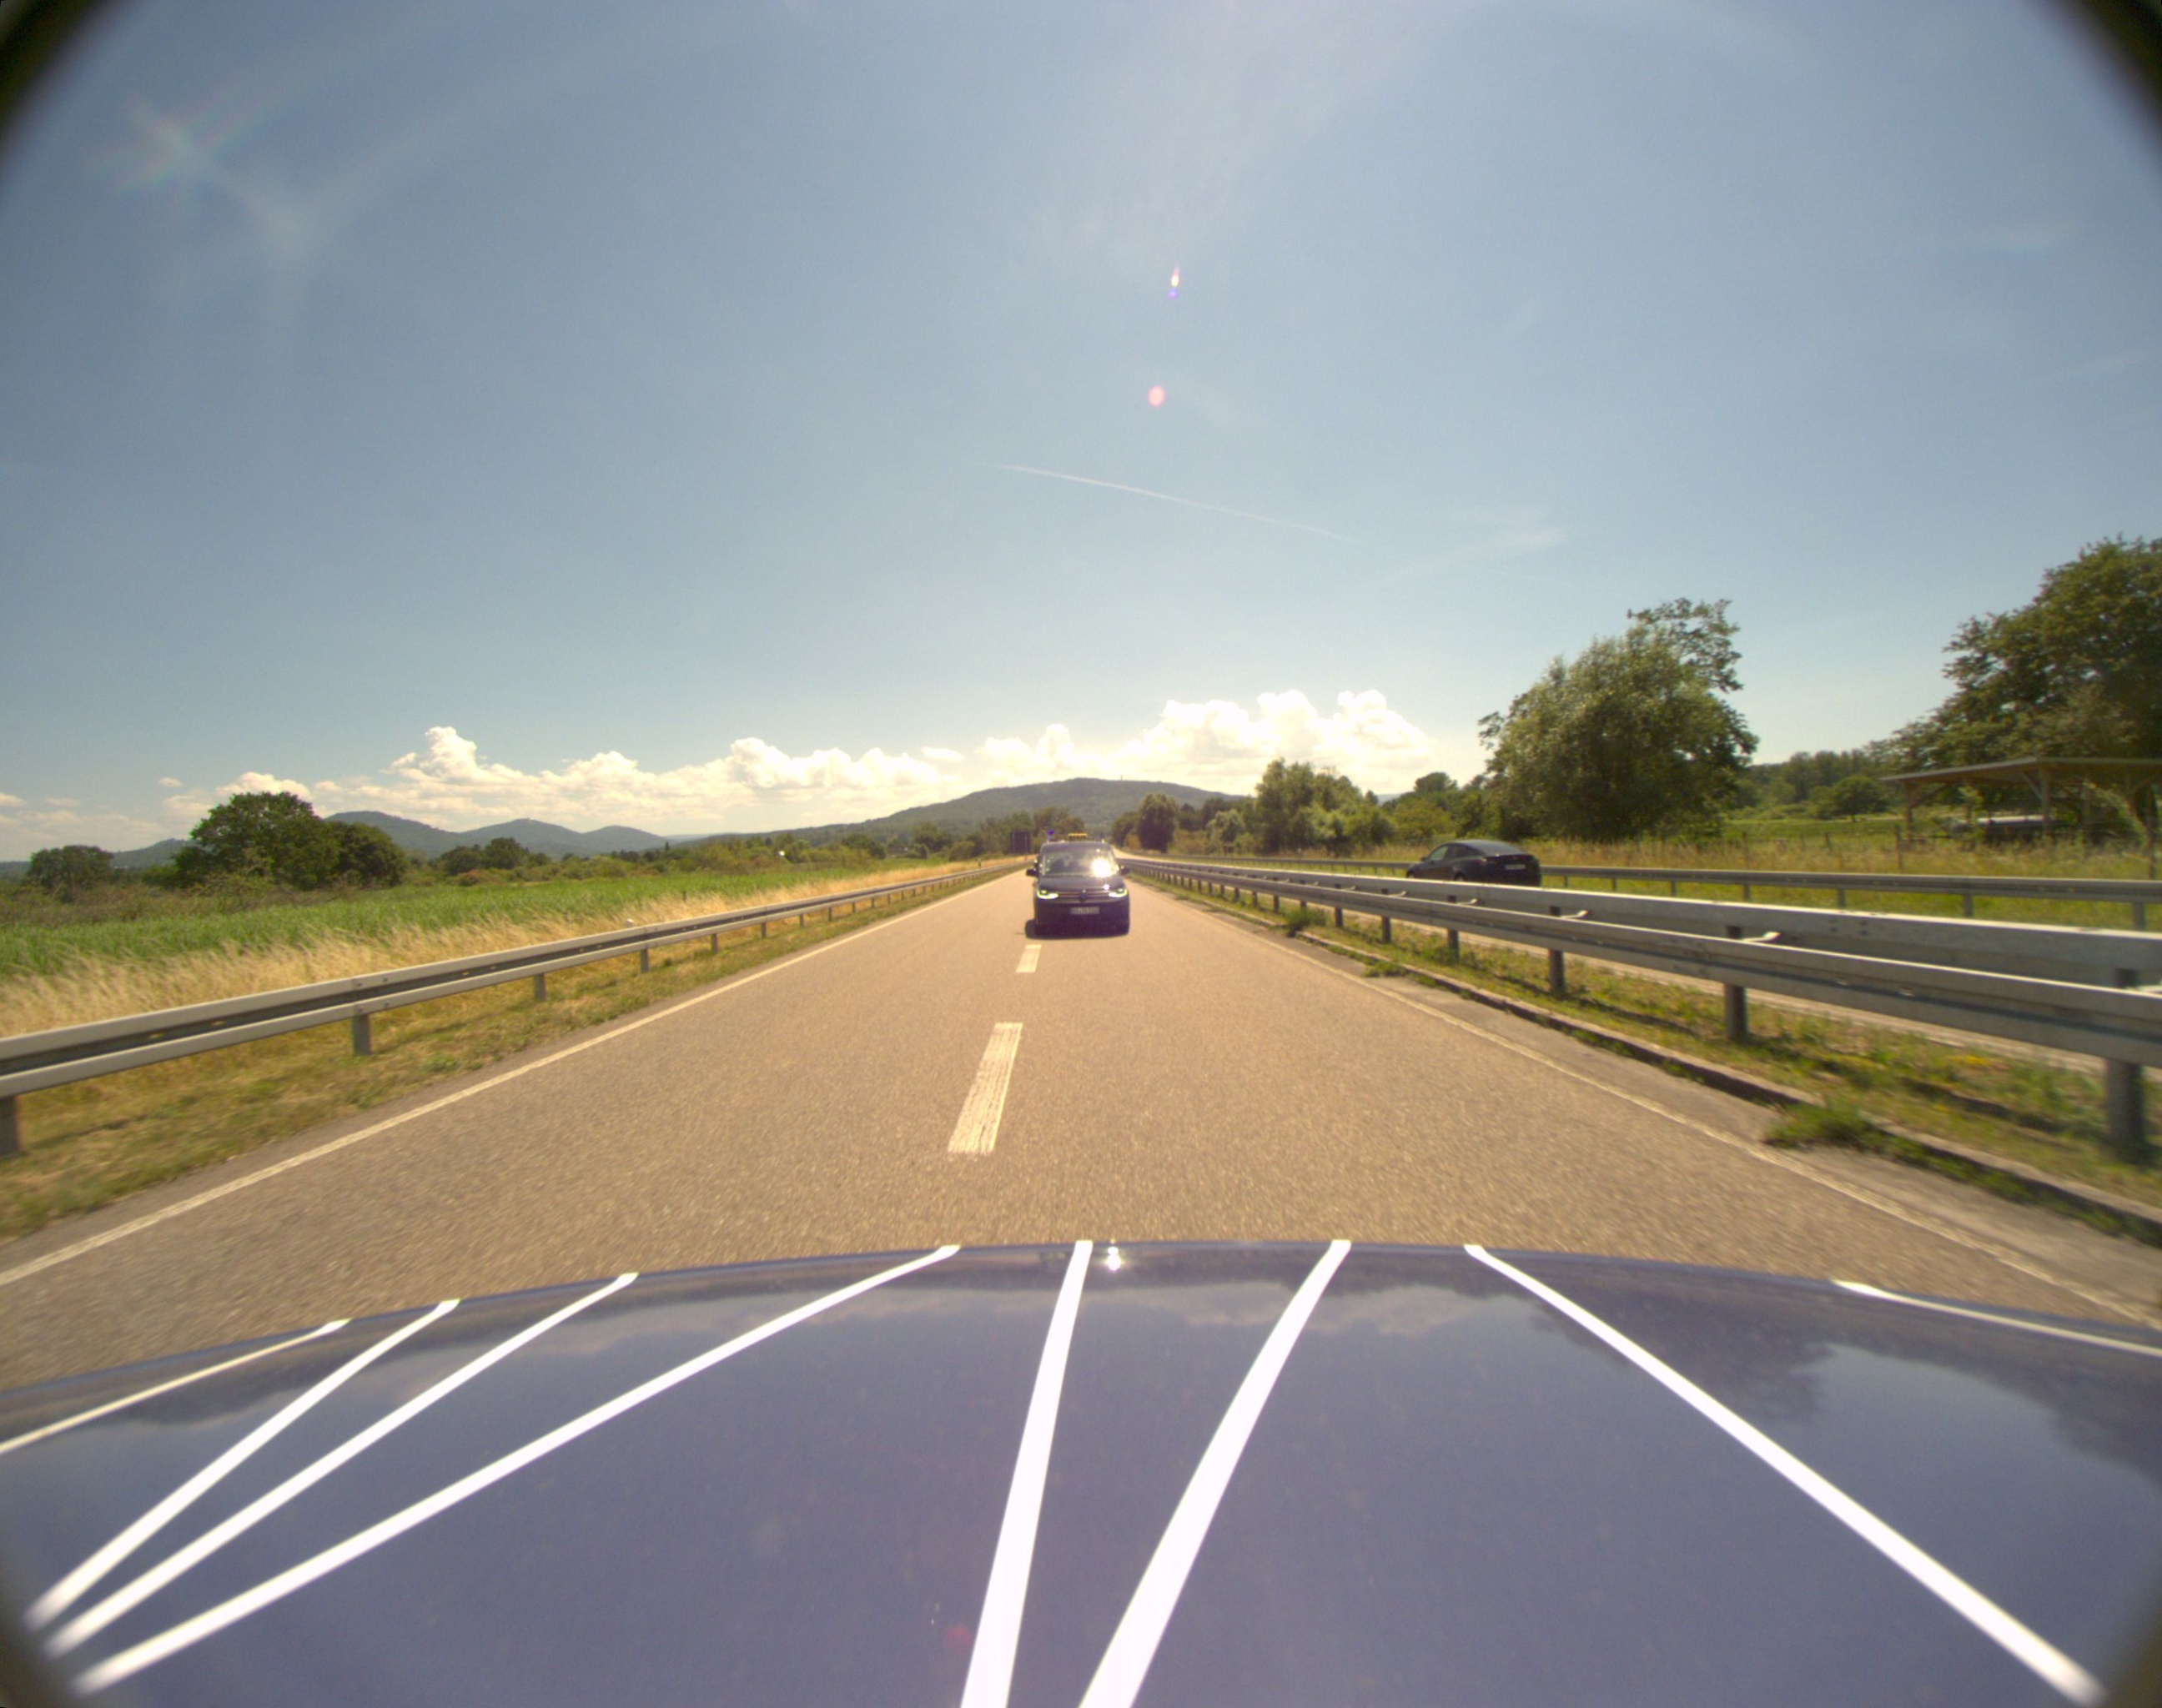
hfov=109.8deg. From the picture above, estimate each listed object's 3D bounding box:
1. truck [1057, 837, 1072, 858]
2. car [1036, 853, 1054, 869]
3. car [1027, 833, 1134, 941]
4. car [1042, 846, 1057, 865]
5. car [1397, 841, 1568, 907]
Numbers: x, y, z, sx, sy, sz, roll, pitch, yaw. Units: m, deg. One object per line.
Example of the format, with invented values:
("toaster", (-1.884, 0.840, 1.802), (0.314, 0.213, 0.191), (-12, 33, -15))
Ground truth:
("truck", (-3.527, -1.401, 163.413), (2.827, 4.143, 9.947), (-2, 0, 0))
("car", (-3.482, 0.665, 73.899), (1.577, 1.387, 3.485), (-2, 0, 0))
("car", (-0.147, 0.589, 16.352), (1.859, 1.876, 5.571), (-2, 0, -3))
("car", (-3.779, 0.171, 91.916), (1.620, 2.085, 3.485), (-2, 1, 0))
("car", (11.020, 0.491, 21.372), (1.999, 1.599, 4.961), (-2, 0, -3))
